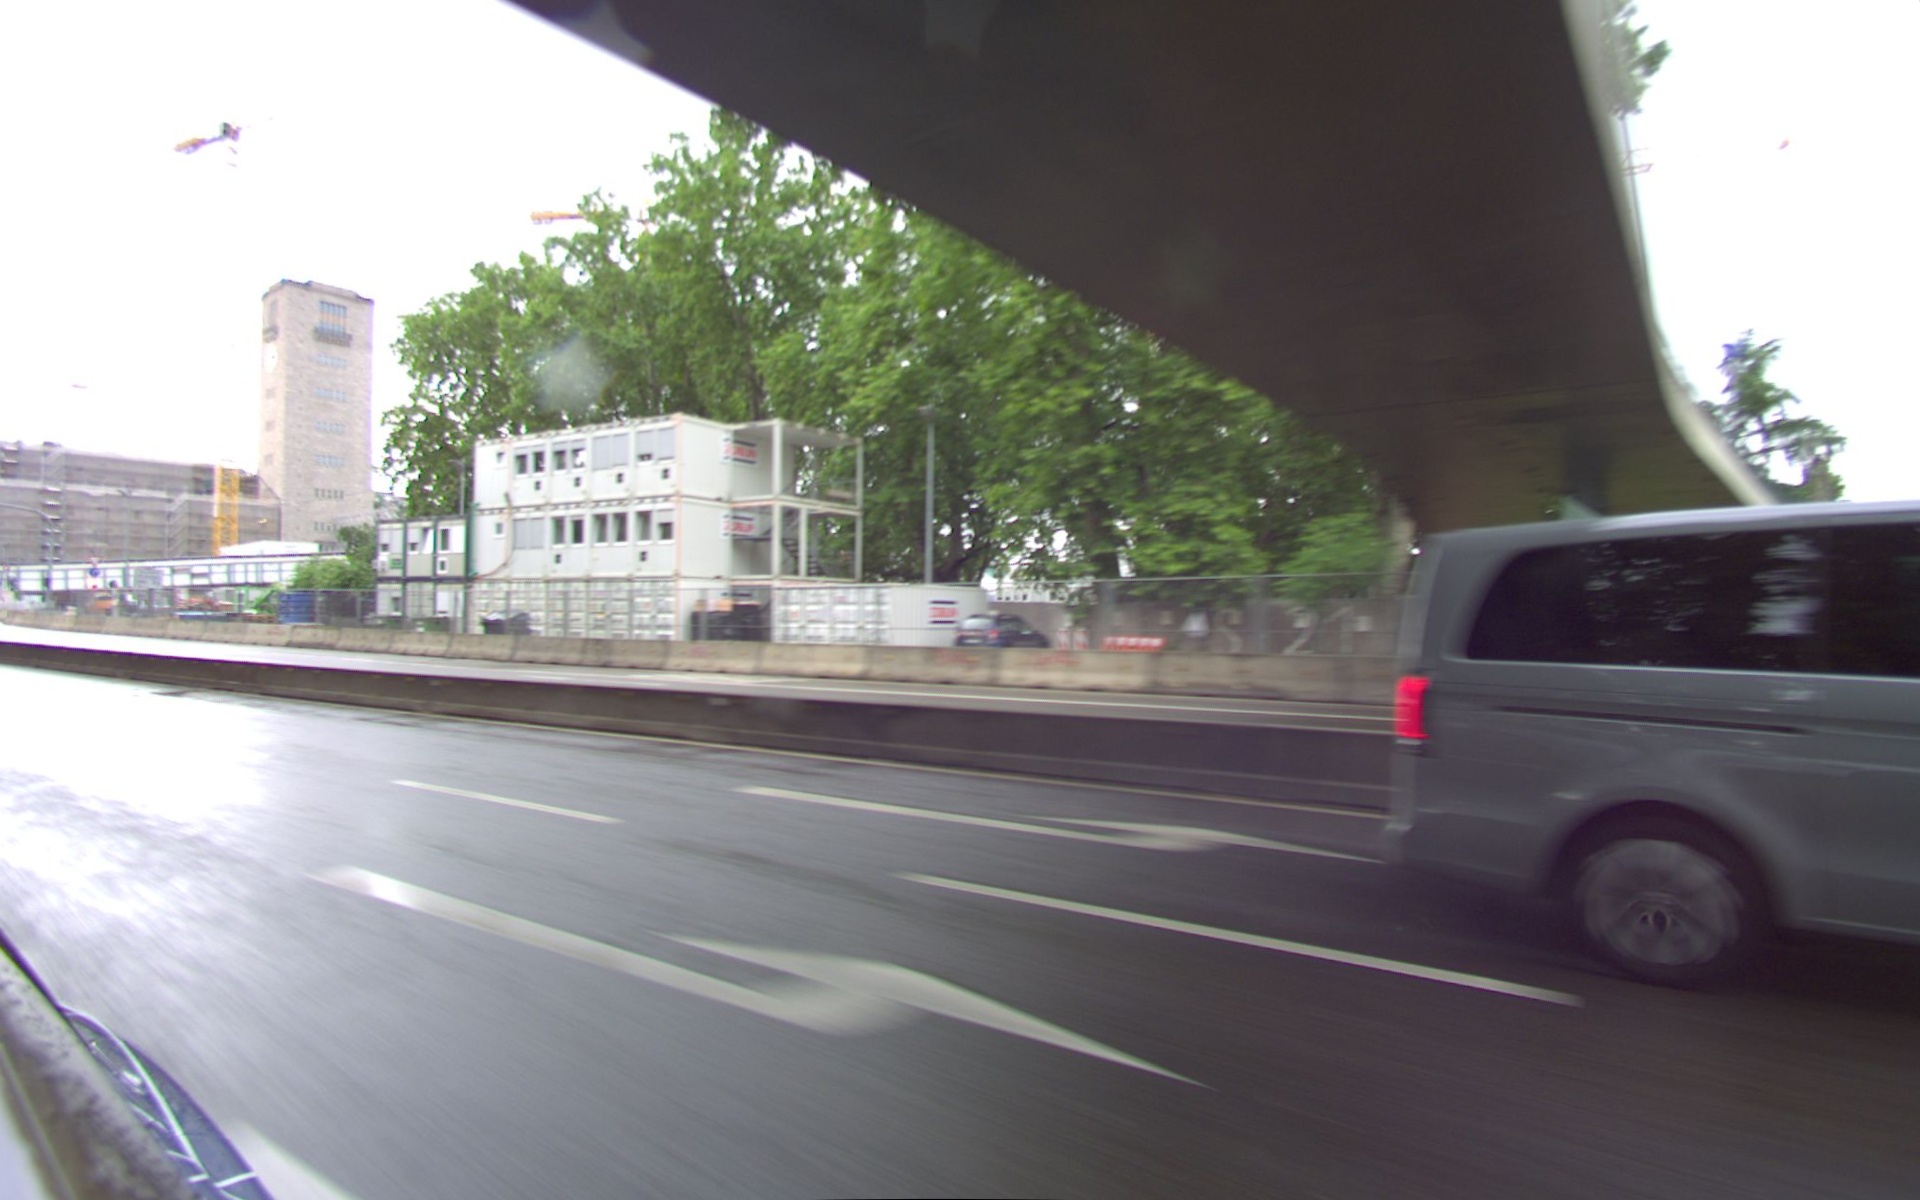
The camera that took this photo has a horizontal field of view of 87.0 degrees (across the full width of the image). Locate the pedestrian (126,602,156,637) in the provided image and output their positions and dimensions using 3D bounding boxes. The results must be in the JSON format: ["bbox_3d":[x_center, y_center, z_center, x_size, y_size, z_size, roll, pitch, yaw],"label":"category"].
[{"bbox_3d":[-47.997,1.139,59.319,1.173,2.029,1.167,0,0,41],"label":"pedestrian"}]

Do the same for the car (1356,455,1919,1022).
[{"bbox_3d":[4.455,0.454,3.659,5.343,1.870,1.977,0,0,34],"label":"car"}]

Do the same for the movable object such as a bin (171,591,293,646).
[{"bbox_3d":[-45.067,1.145,62.662,6.365,3.152,3.903,1,-2,31],"label":"movable object such as a bin"}]

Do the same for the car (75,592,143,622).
[{"bbox_3d":[-66.013,0.552,78.479,5.556,2.116,1.981,1,-3,28],"label":"car"}]

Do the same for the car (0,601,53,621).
[{"bbox_3d":[-97.339,1.159,104.768,4.949,2.029,2.002,1,-2,-5],"label":"car"}]

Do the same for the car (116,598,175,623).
[{"bbox_3d":[-60.861,0.791,75.585,4.780,1.775,1.832,1,-2,31],"label":"car"}]

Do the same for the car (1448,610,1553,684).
[{"bbox_3d":[13.201,1.118,24.951,1.947,1.640,4.401,0,-2,24],"label":"car"}]

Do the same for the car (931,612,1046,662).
[{"bbox_3d":[0.983,1.184,32.533,1.993,1.454,3.956,1,-2,32],"label":"car"}]

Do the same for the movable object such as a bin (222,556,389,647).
[{"bbox_3d":[-37.443,0.108,57.885,8.330,4.839,4.715,1,-2,31],"label":"movable object such as a bin"}]

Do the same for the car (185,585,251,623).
[{"bbox_3d":[-64.031,0.350,87.283,6.144,3.089,2.258,1,-2,30],"label":"car"}]
